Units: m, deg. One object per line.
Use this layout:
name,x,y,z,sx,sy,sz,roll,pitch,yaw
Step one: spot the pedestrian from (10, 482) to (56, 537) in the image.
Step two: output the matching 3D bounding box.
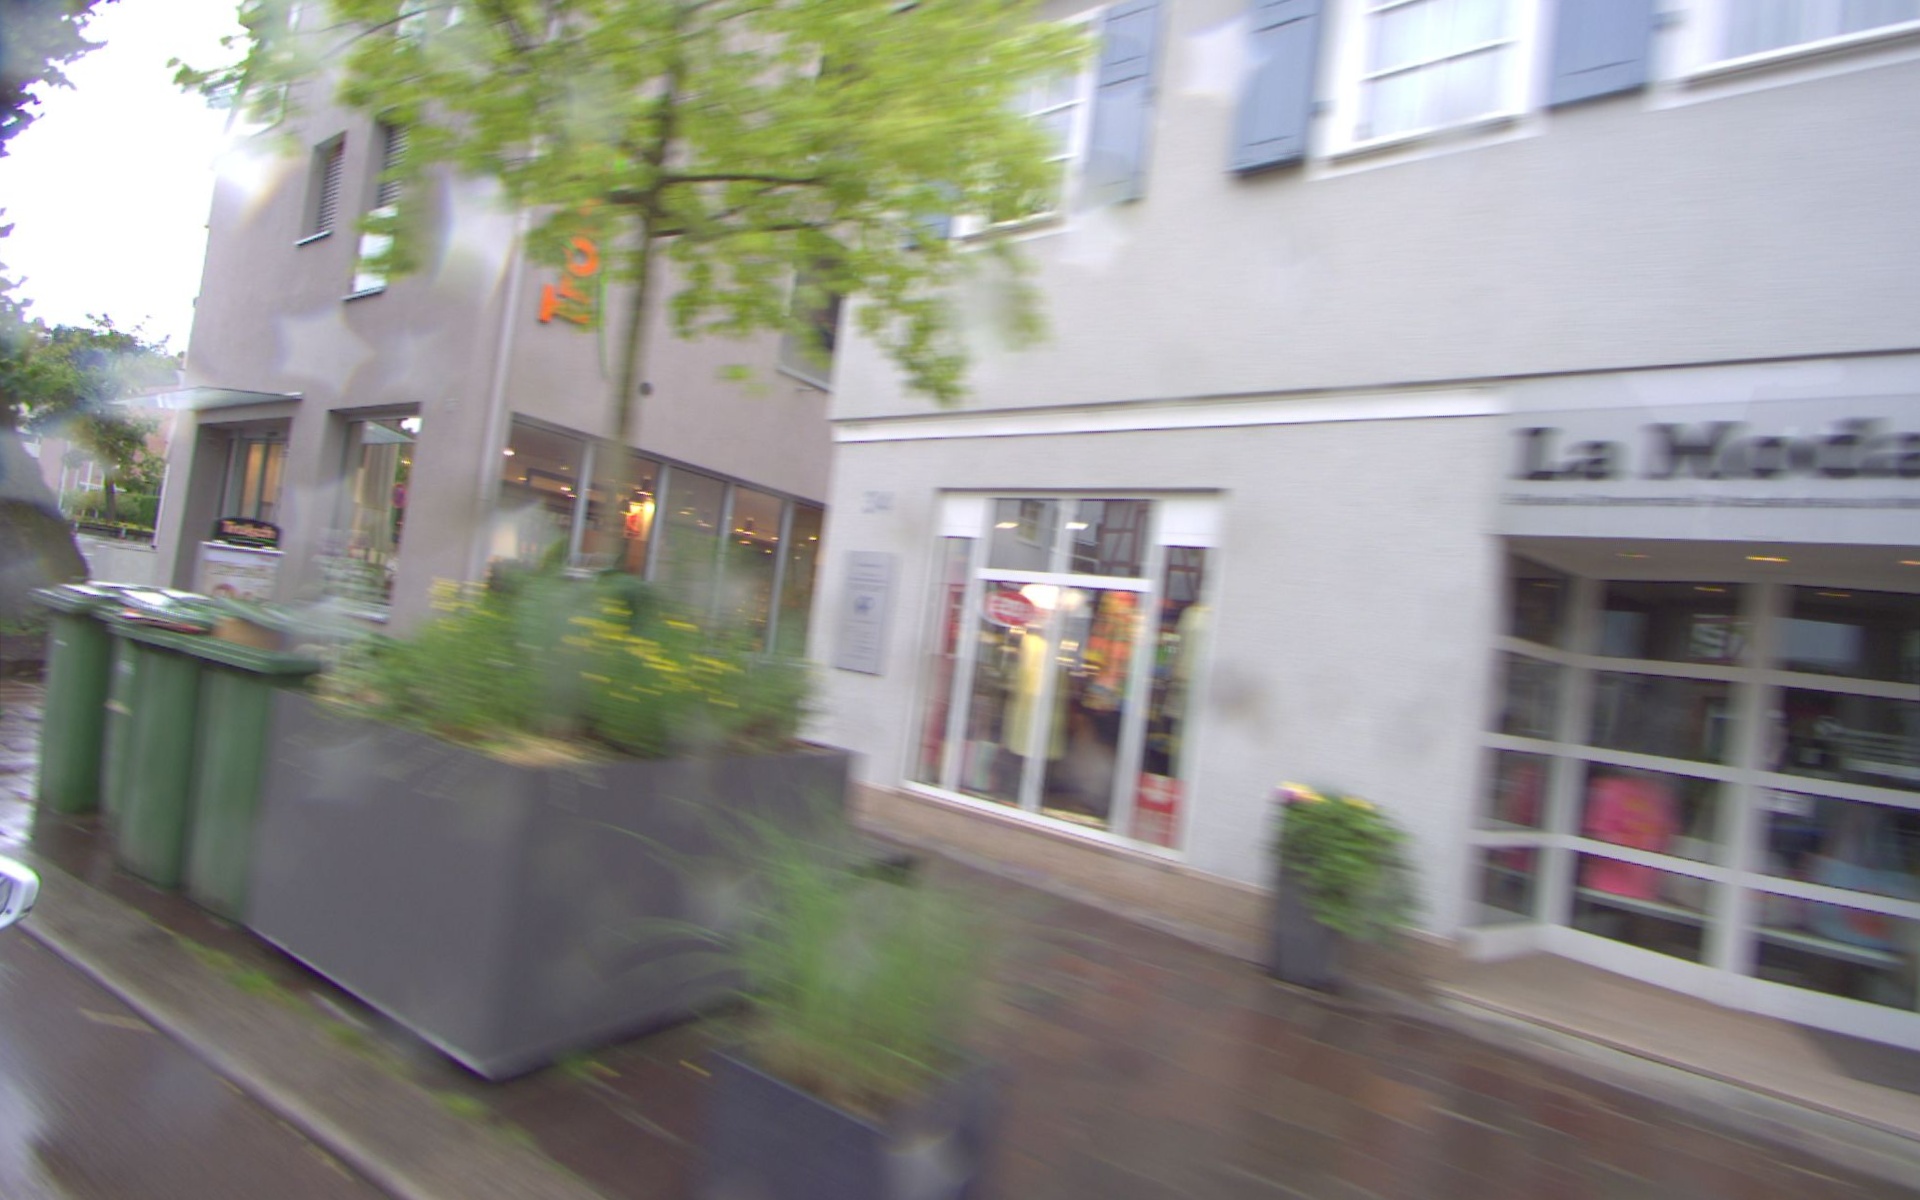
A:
pedestrian,-34.545,-3.360,37.487,0.754,1.862,0.900,5,-4,35

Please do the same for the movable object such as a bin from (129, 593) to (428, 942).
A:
movable object such as a bin,-2.620,0.615,3.902,0.570,1.163,0.633,6,-3,29

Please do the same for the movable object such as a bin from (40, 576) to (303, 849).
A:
movable object such as a bin,-3.633,0.511,4.660,0.570,1.115,0.679,6,-4,32

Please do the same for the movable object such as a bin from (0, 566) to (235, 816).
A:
movable object such as a bin,-4.217,0.445,4.970,0.638,1.085,0.723,6,-4,33

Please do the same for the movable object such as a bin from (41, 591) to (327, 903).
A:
movable object such as a bin,-3.180,0.581,4.153,0.570,1.116,0.633,6,-3,29
